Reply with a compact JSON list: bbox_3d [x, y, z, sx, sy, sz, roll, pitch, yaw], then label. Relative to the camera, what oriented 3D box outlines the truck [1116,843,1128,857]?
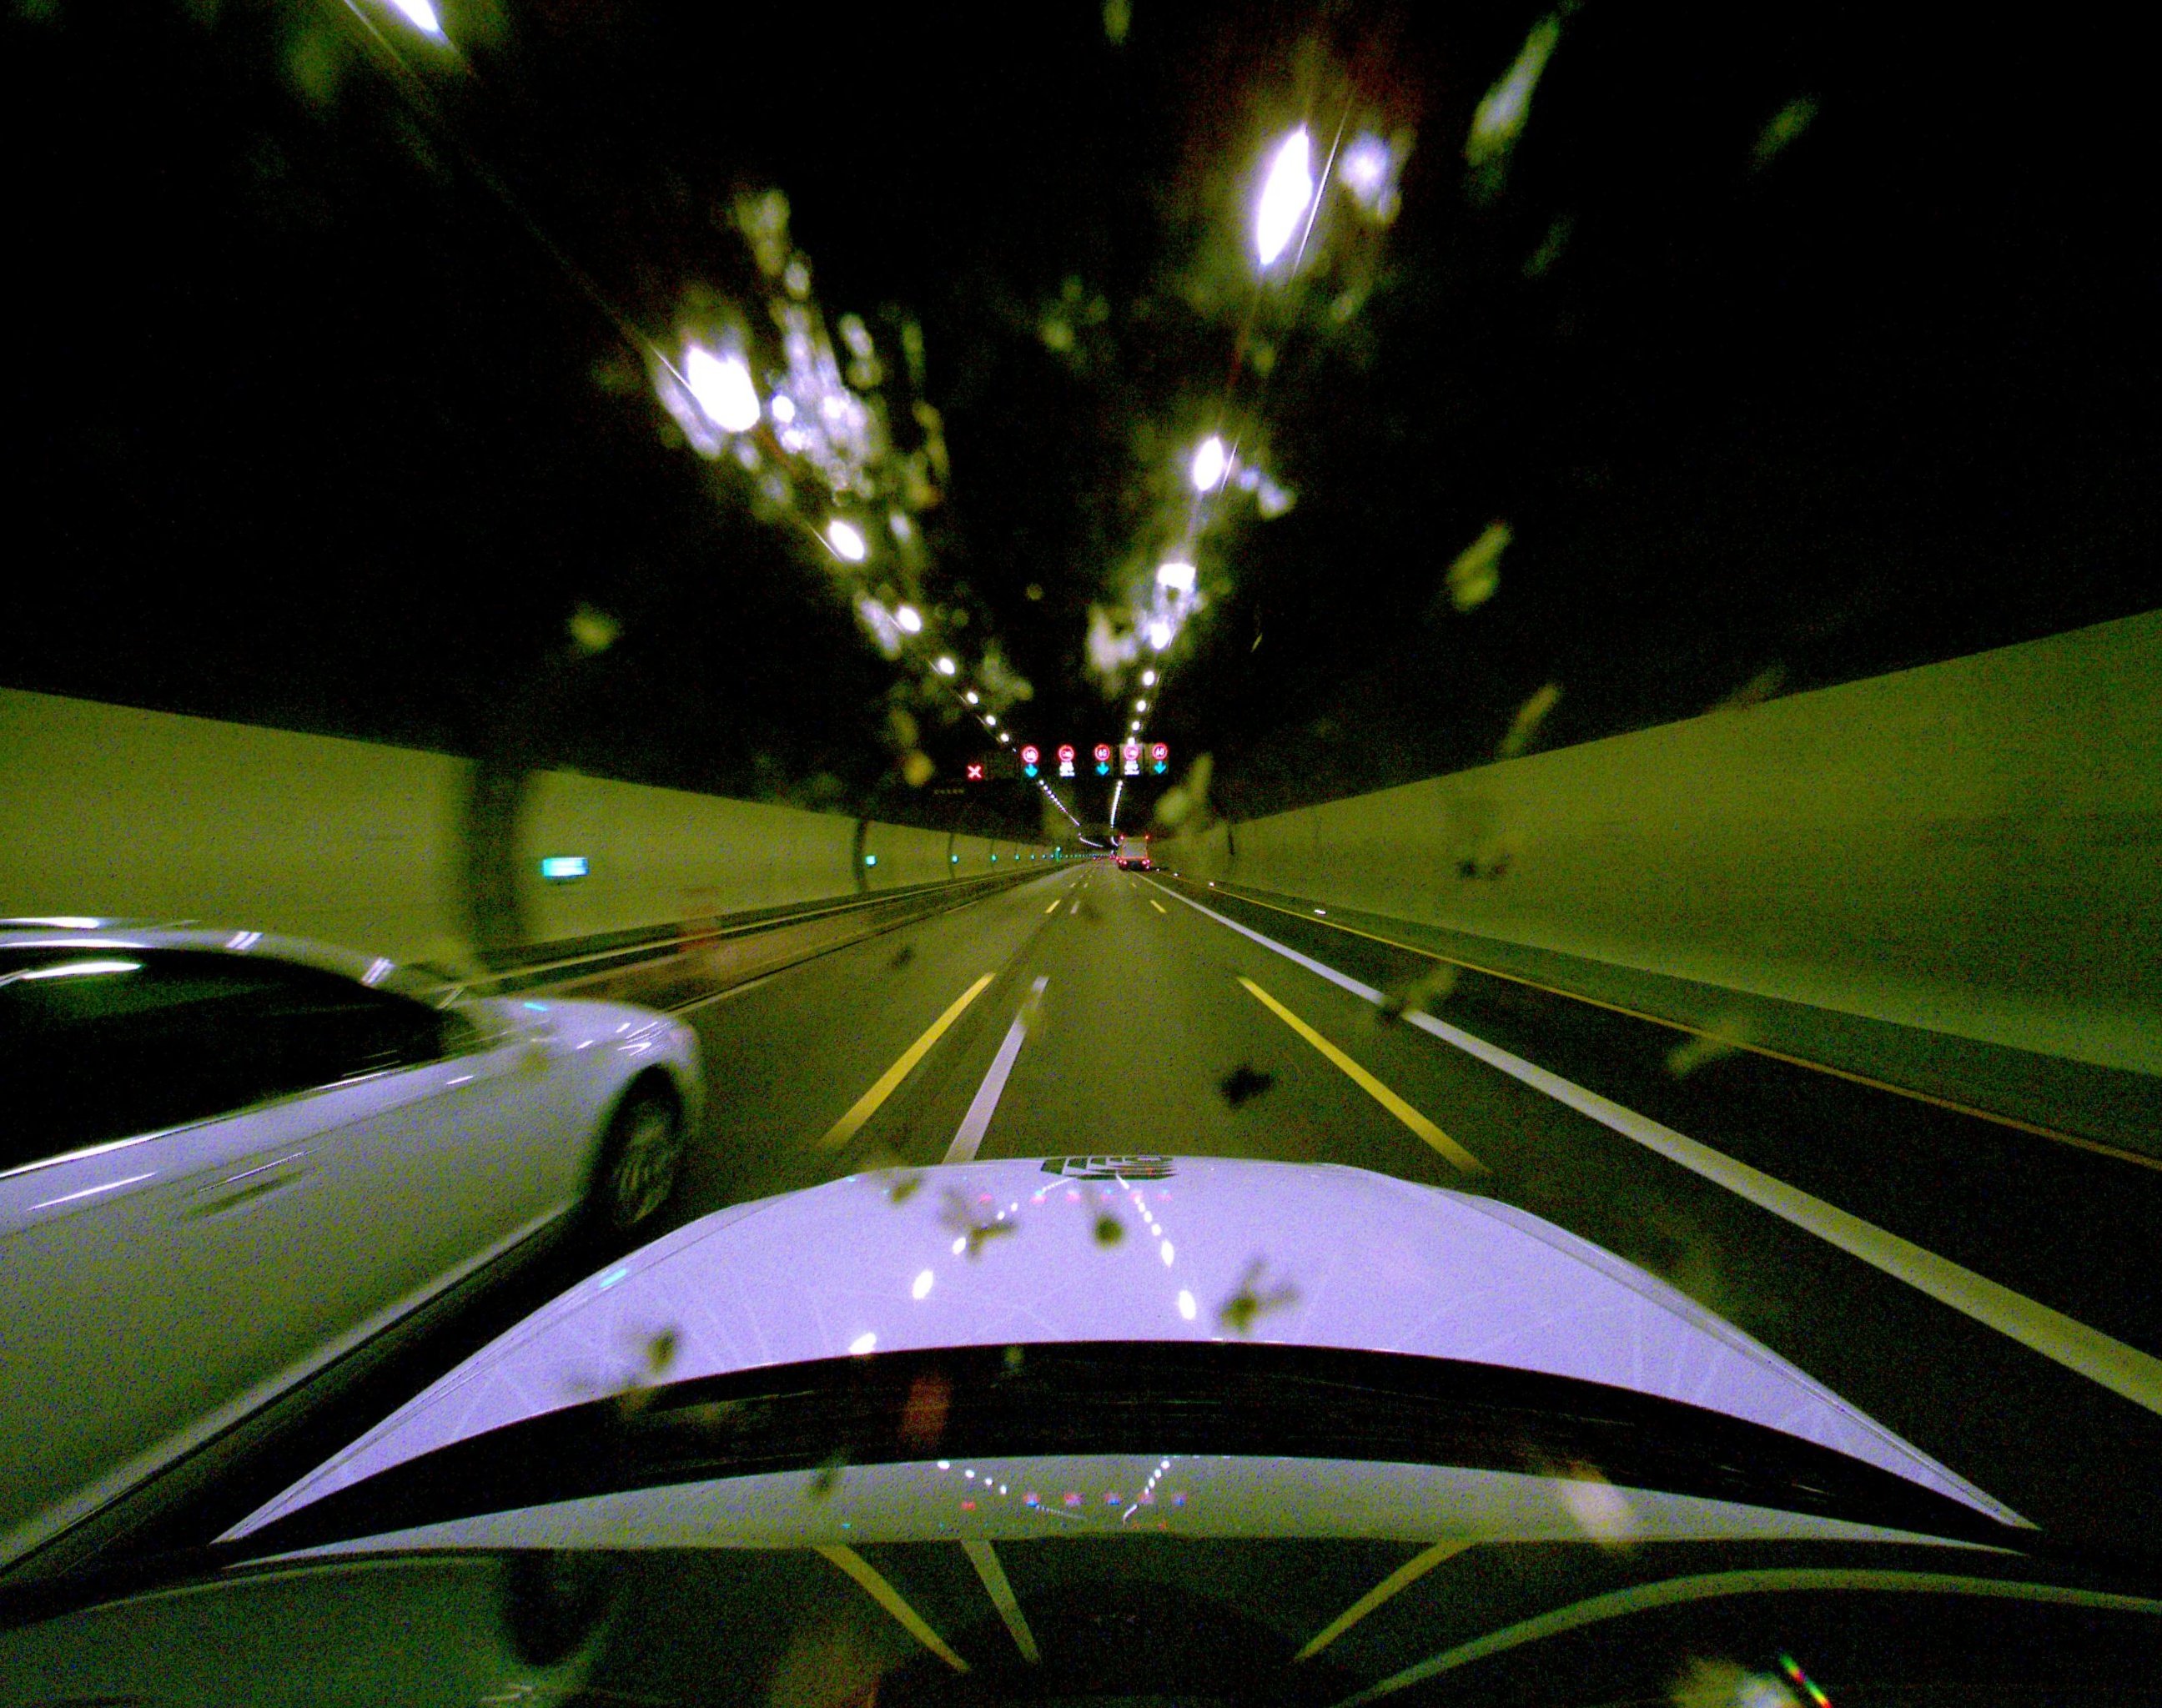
[{"bbox_3d":[12.129,-1.075,240.292,3.054,3.918,10.375,-2,-1,3],"label":"truck"}]

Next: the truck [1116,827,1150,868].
[{"bbox_3d":[5.314,-0.586,84.903,3.080,3.918,10.372,-2,-1,2],"label":"truck"}]

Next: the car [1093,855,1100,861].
[{"bbox_3d":[4.147,1.144,220.113,1.752,1.461,4.121,-3,1,2],"label":"car"}]

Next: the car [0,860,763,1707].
[{"bbox_3d":[-2.682,0.862,1.738,1.897,1.484,4.944,-4,0,1],"label":"car"}]

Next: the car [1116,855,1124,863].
[{"bbox_3d":[8.362,1.113,173.995,1.732,1.461,3.964,-3,1,3],"label":"car"}]
